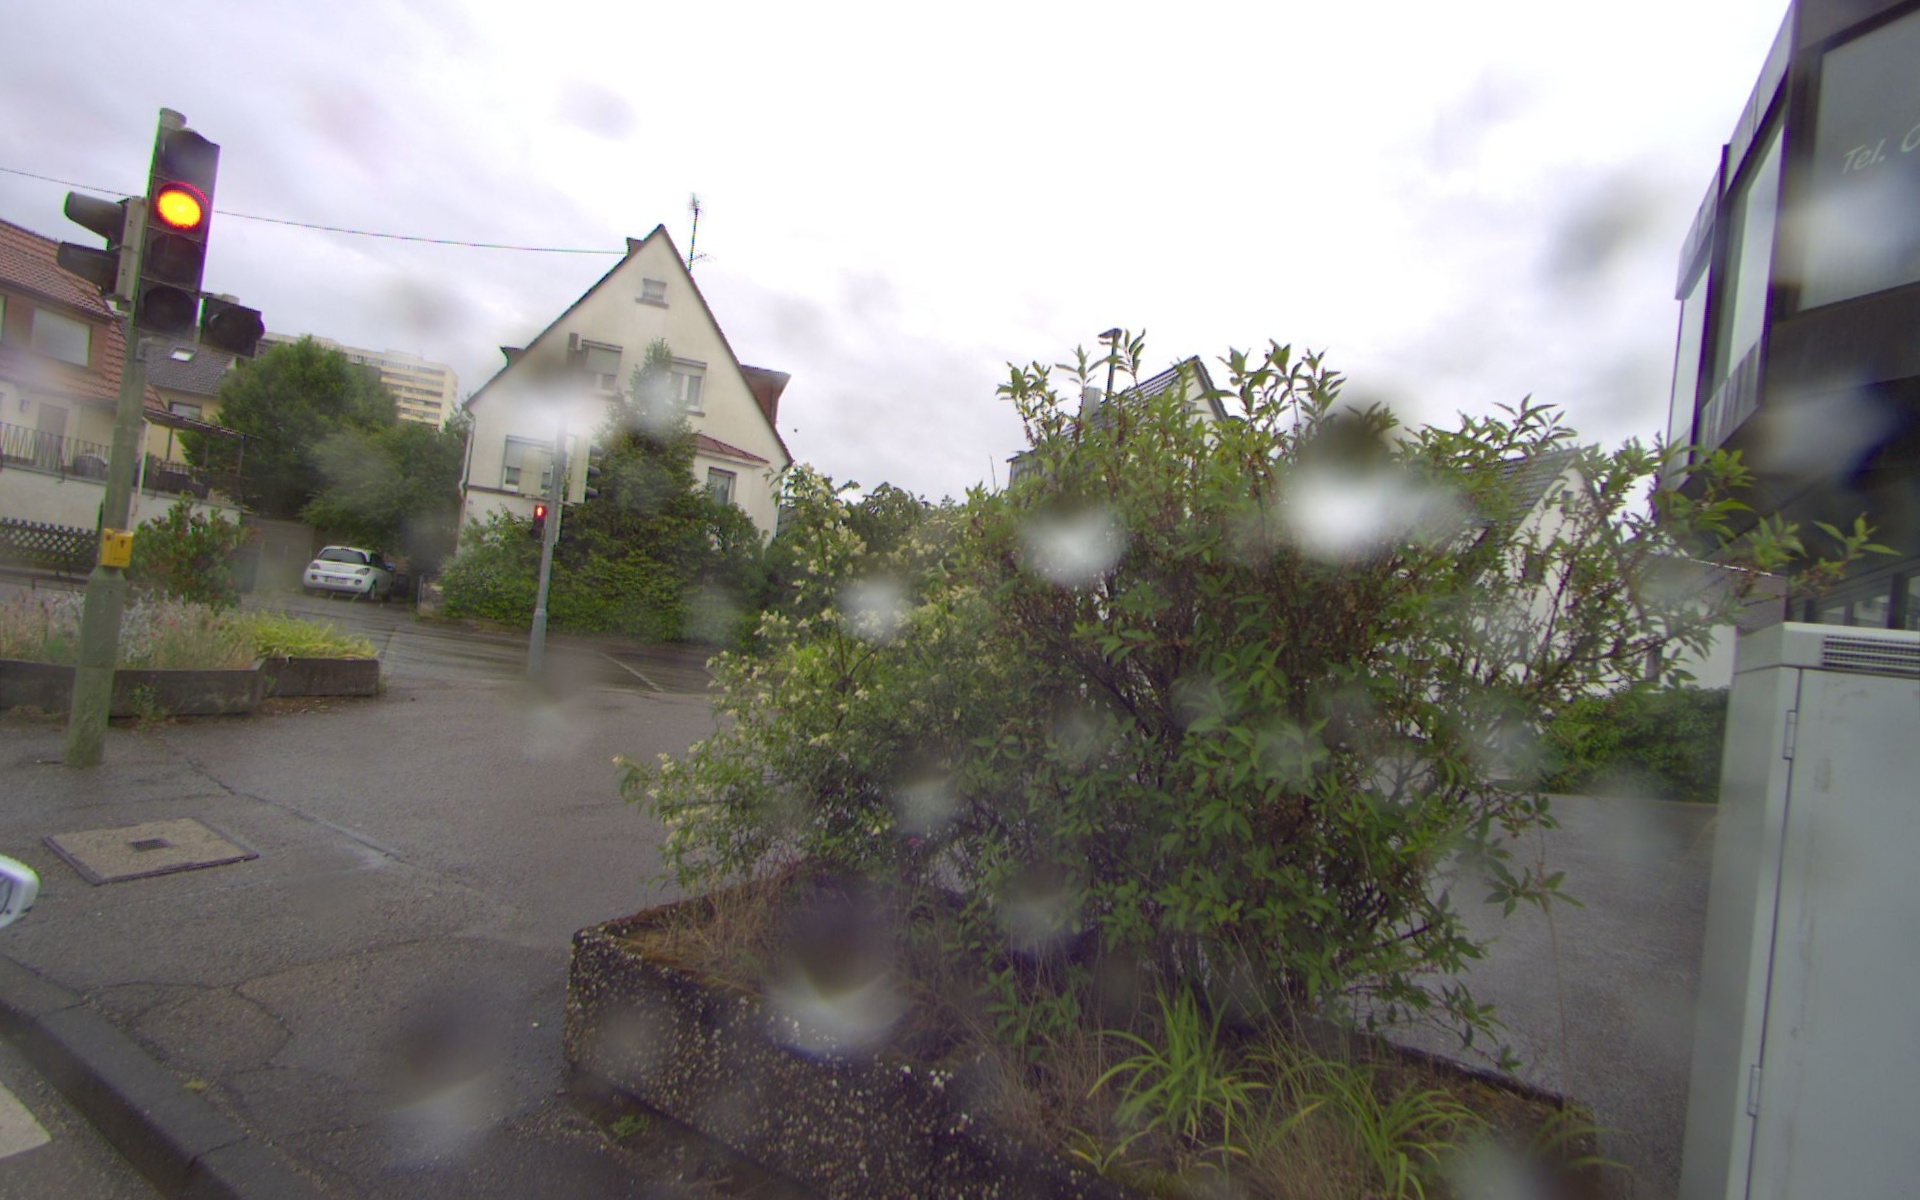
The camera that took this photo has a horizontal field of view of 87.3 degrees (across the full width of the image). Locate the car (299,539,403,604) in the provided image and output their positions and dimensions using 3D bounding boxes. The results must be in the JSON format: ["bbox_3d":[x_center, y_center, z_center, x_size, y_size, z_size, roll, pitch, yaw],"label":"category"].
[{"bbox_3d":[-17.679,-0.807,29.378,1.722,1.532,3.982,9,-2,-21],"label":"car"}]
